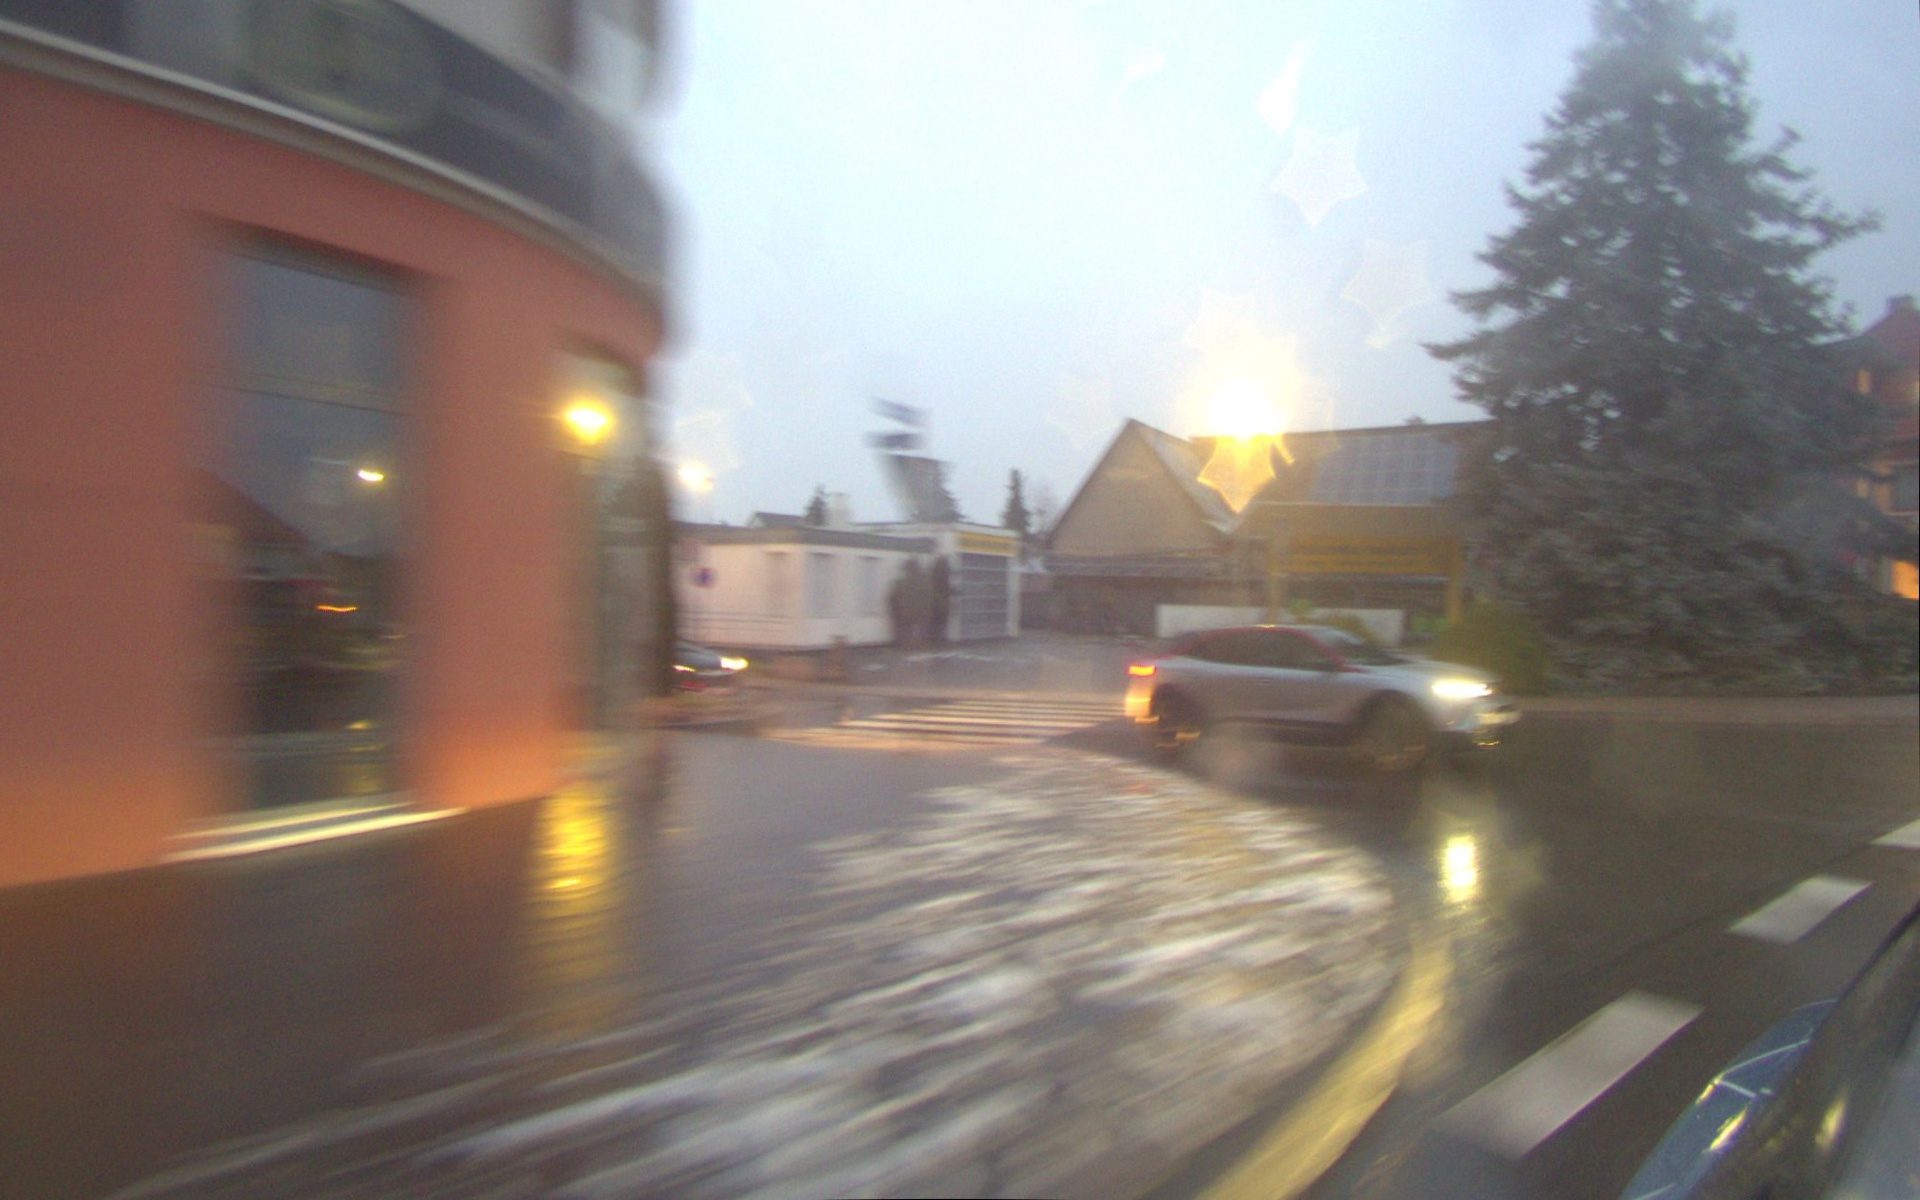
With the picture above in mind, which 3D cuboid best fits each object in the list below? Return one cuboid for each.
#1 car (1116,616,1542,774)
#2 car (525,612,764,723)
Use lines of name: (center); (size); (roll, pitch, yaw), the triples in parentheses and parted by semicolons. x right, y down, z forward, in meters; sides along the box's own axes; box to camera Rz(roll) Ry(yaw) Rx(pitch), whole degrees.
car: (4.012, 0.952, 11.440); (4.166, 1.460, 1.770); (-2, -3, 42)
car: (-5.857, 1.185, 18.681); (4.096, 1.810, 2.025); (-2, -2, 31)
